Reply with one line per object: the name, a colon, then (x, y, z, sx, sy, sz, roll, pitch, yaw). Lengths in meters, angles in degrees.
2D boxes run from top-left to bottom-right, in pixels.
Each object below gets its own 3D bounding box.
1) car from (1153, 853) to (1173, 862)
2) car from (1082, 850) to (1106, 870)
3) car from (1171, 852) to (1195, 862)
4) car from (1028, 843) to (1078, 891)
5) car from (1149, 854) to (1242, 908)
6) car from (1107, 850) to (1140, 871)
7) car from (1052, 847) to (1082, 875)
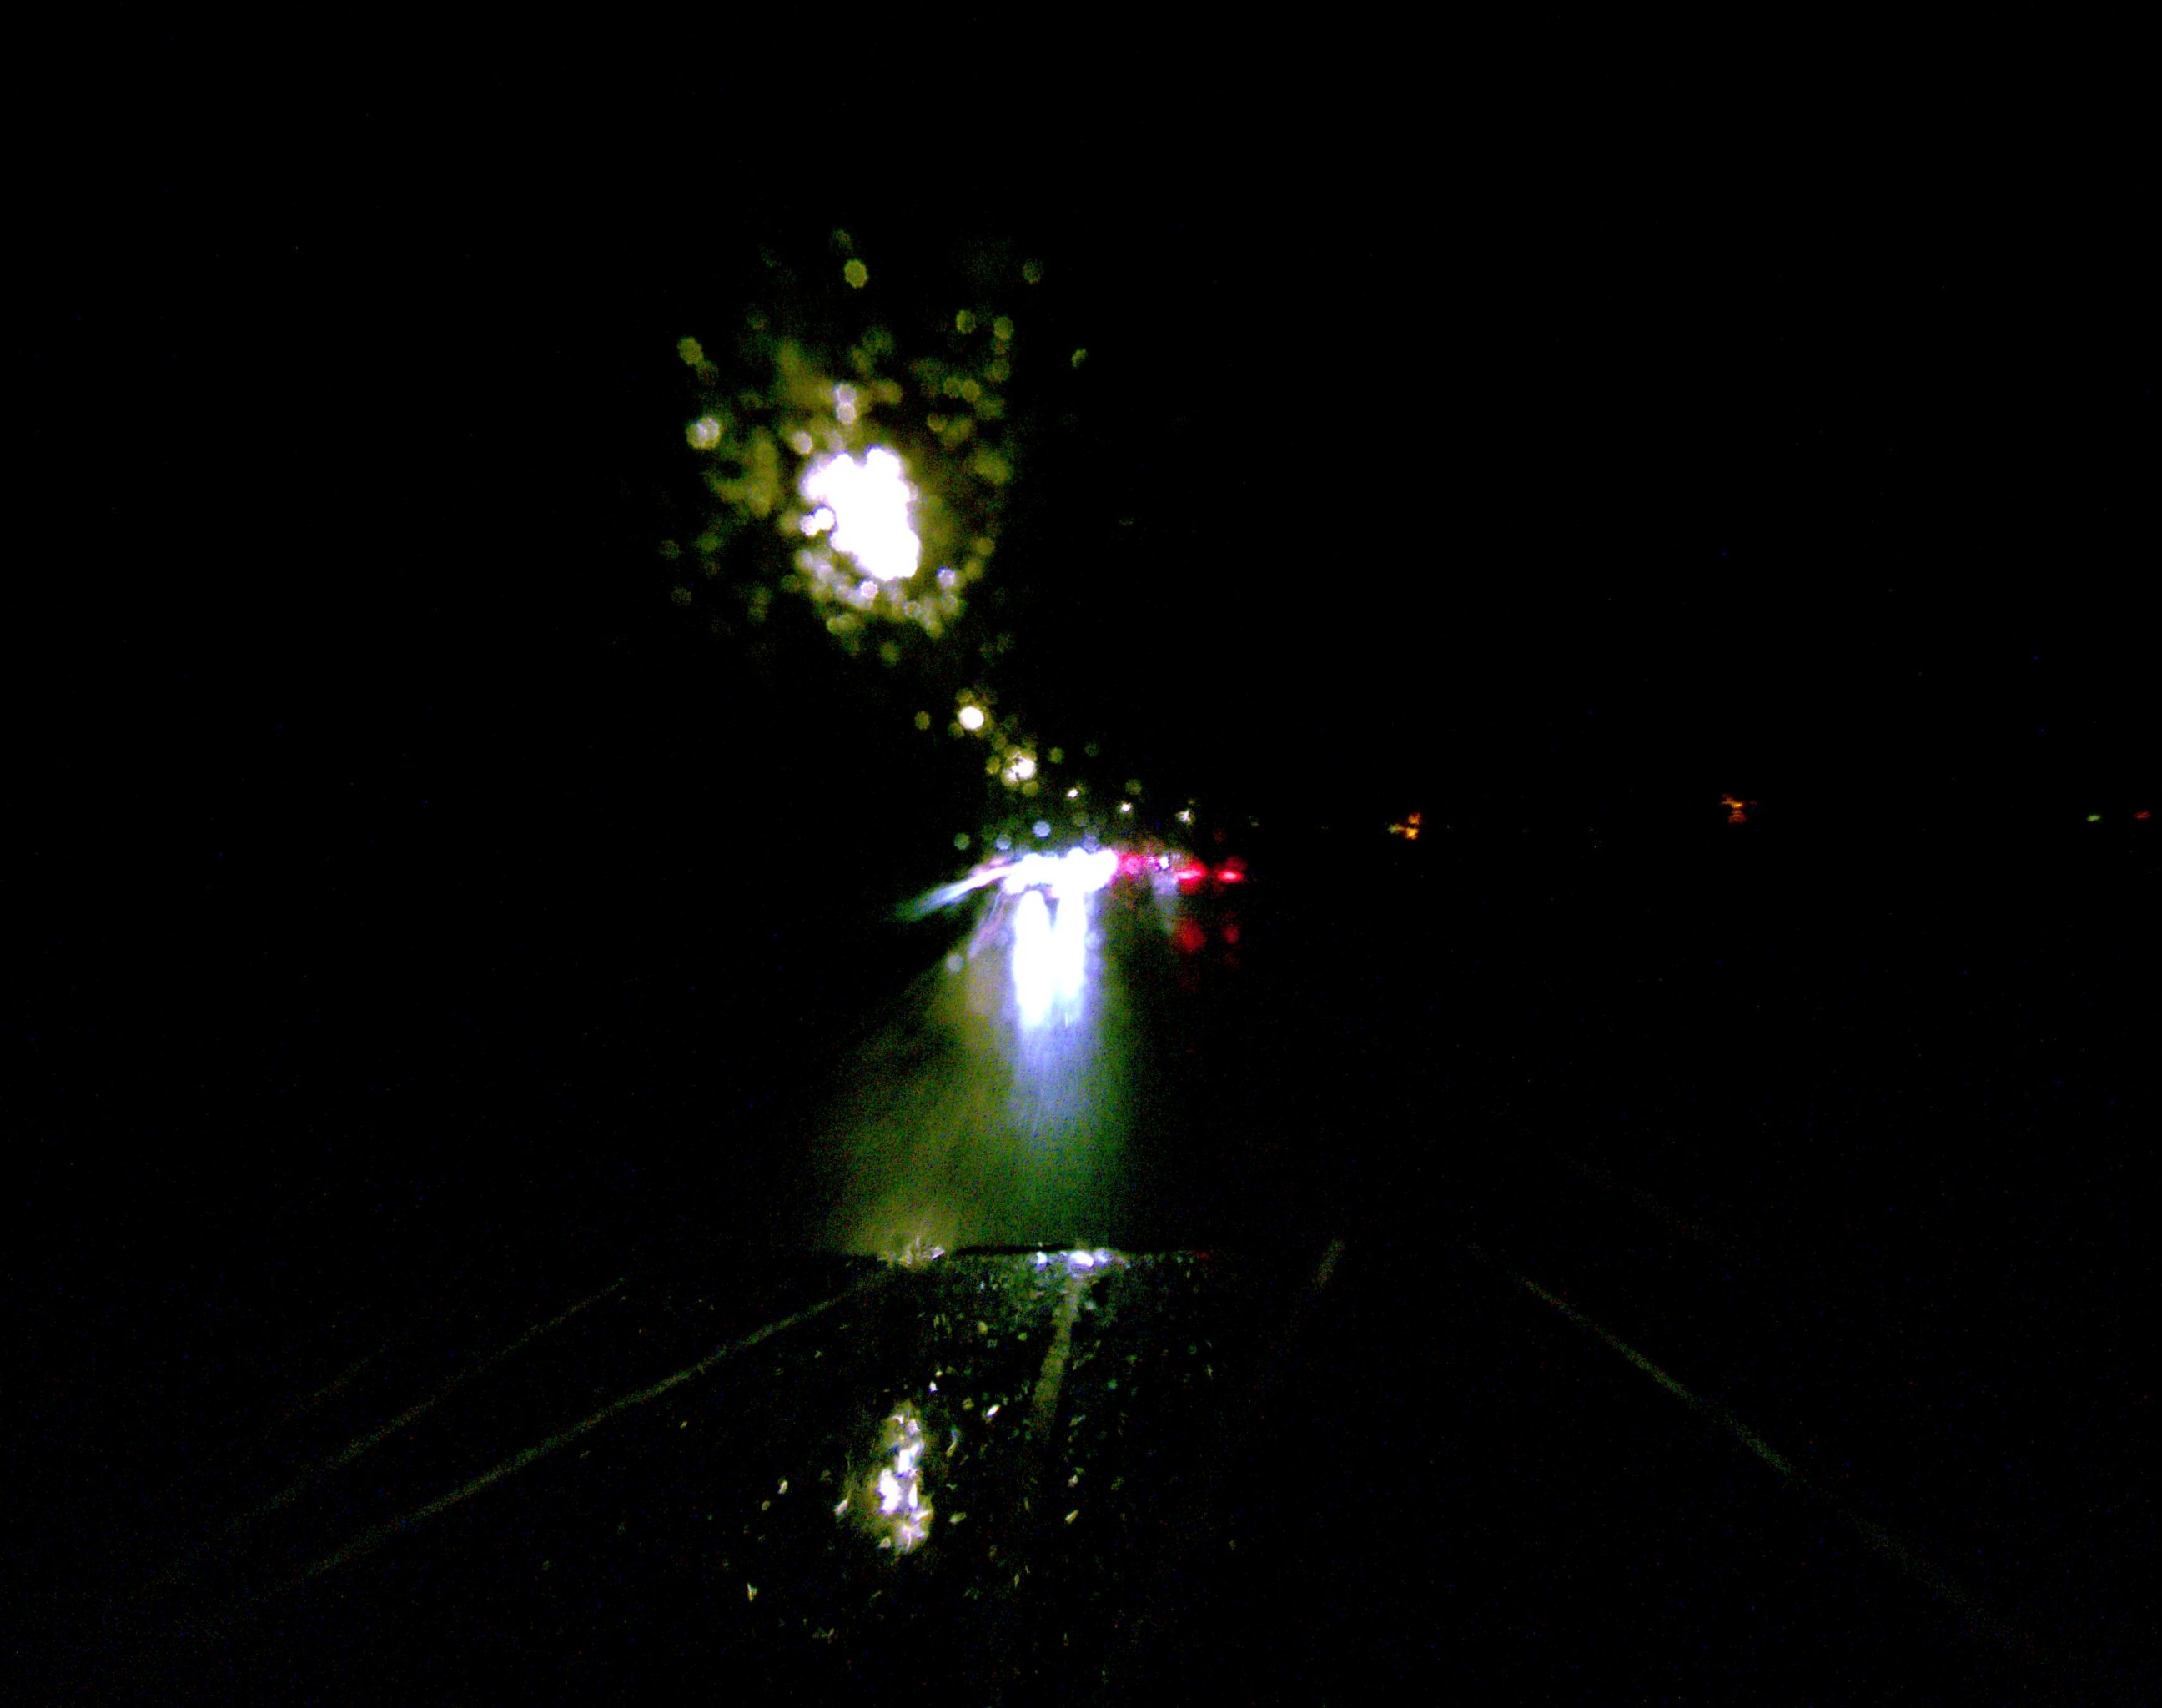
car: (12.517, 0.525, 115.565, 1.995, 1.475, 4.007, 0, 0, 22)
car: (1.262, 0.564, 74.244, 1.997, 1.923, 4.002, 0, 0, 6)
car: (14.876, 0.391, 110.619, 1.793, 1.384, 4.600, 2, 2, 32)
car: (-1.124, 0.514, 31.717, 1.936, 1.862, 3.999, 1, 0, -1)
car: (3.266, 0.724, 22.443, 1.829, 1.395, 4.034, -2, 0, -5)
car: (2.968, 0.446, 53.840, 1.764, 1.423, 4.326, -1, 1, -3)
car: (-0.952, 0.504, 53.963, 1.998, 1.923, 4.000, 0, 0, 1)
